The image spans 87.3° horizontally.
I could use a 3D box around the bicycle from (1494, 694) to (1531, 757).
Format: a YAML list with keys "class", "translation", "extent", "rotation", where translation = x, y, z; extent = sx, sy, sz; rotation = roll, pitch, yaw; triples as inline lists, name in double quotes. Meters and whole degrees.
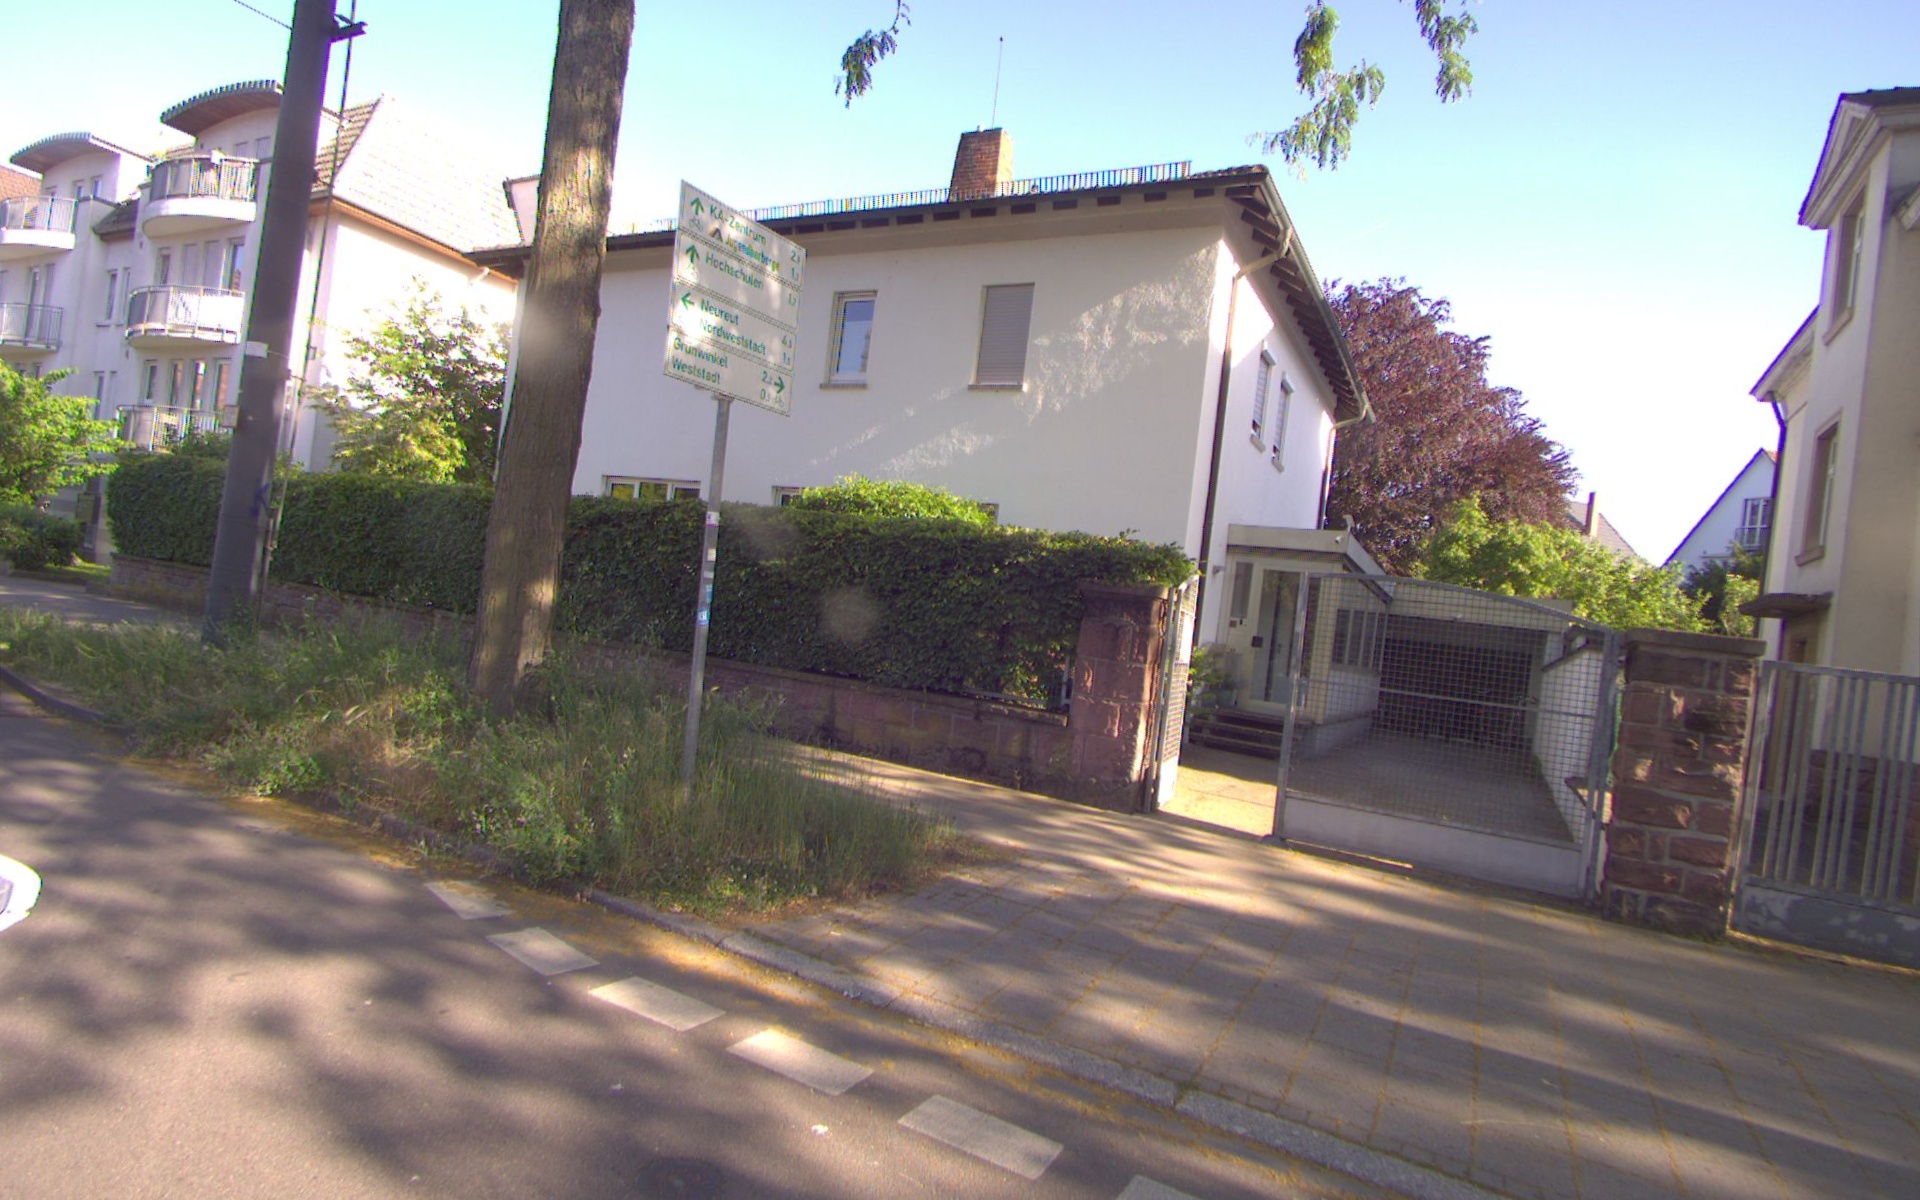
- class: "bicycle"
  translation: [10.938, 2.478, 19.900]
  extent: [0.512, 1.135, 1.465]
  rotation: [6, -2, 30]

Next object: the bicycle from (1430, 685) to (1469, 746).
- class: "bicycle"
  translation: [10.016, 2.361, 20.567]
  extent: [0.512, 1.135, 1.465]
  rotation: [6, -2, 30]

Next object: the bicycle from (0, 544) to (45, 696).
- class: "bicycle"
  translation: [-8.654, 0.062, 8.550]
  extent: [2.063, 1.167, 0.830]
  rotation: [6, -4, 38]

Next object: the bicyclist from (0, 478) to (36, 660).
- class: "bicyclist"
  translation: [-8.602, -0.322, 8.559]
  extent: [0.920, 1.519, 0.821]
  rotation: [6, -1, 38]

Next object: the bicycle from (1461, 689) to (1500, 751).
- class: "bicycle"
  translation: [10.492, 2.412, 20.269]
  extent: [0.512, 1.135, 1.465]
  rotation: [6, -2, 30]

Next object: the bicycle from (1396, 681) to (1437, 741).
- class: "bicycle"
  translation: [9.505, 2.308, 20.931]
  extent: [0.512, 1.135, 1.465]
  rotation: [6, -2, 30]
